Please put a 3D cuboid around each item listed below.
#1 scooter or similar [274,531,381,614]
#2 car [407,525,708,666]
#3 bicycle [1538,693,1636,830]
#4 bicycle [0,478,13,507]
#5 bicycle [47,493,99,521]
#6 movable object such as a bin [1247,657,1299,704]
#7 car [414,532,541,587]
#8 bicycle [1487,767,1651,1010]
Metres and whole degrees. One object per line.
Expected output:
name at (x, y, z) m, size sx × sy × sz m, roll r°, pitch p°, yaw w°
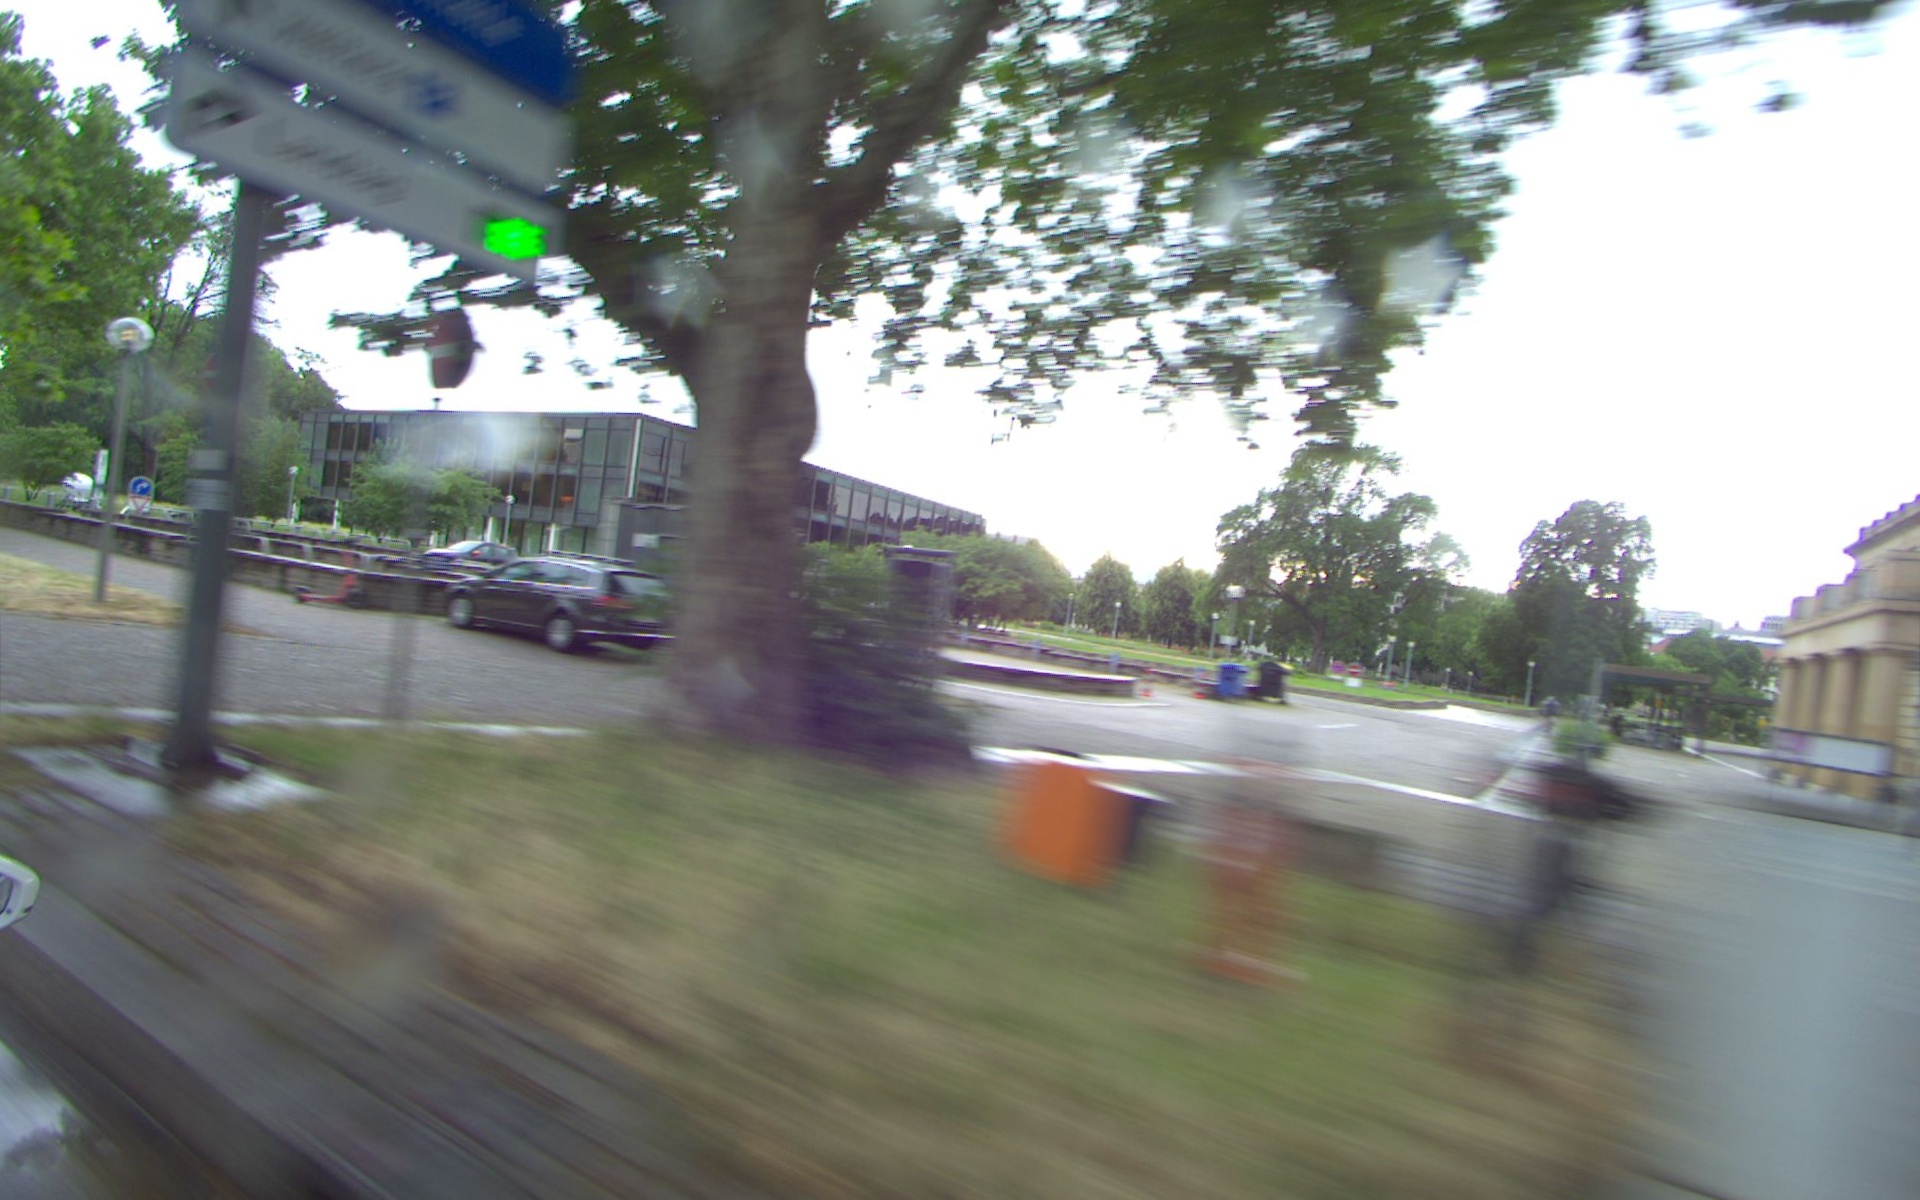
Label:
scooter or similar at (-11.099, -0.479, 17.679) m, size 1.411 × 1.271 × 0.543 m, roll 7°, pitch 1°, yaw 0°
car at (-7.065, -0.109, 17.494) m, size 5.147 × 1.629 × 1.997 m, roll 9°, pitch 0°, yaw 31°
bicycle at (8.876, 2.222, 14.329) m, size 0.761 × 1.686 × 2.322 m, roll 6°, pitch -2°, yaw 25°
bicycle at (-41.754, -4.728, 42.668) m, size 0.942 × 1.188 × 2.040 m, roll 8°, pitch 0°, yaw 22°
bicycle at (-42.459, -4.444, 48.160) m, size 0.697 × 1.099 × 1.644 m, roll 8°, pitch 1°, yaw 27°
movable object such as a bin at (11.103, 2.845, 35.661) m, size 1.230 × 1.476 × 1.490 m, roll 6°, pitch 1°, yaw 34°
car at (-18.252, -1.499, 38.236) m, size 1.630 × 1.620 × 3.987 m, roll 7°, pitch 1°, yaw 34°
bicycle at (3.434, 1.506, 5.608) m, size 0.566 × 1.031 × 1.643 m, roll 7°, pitch -3°, yaw 36°
